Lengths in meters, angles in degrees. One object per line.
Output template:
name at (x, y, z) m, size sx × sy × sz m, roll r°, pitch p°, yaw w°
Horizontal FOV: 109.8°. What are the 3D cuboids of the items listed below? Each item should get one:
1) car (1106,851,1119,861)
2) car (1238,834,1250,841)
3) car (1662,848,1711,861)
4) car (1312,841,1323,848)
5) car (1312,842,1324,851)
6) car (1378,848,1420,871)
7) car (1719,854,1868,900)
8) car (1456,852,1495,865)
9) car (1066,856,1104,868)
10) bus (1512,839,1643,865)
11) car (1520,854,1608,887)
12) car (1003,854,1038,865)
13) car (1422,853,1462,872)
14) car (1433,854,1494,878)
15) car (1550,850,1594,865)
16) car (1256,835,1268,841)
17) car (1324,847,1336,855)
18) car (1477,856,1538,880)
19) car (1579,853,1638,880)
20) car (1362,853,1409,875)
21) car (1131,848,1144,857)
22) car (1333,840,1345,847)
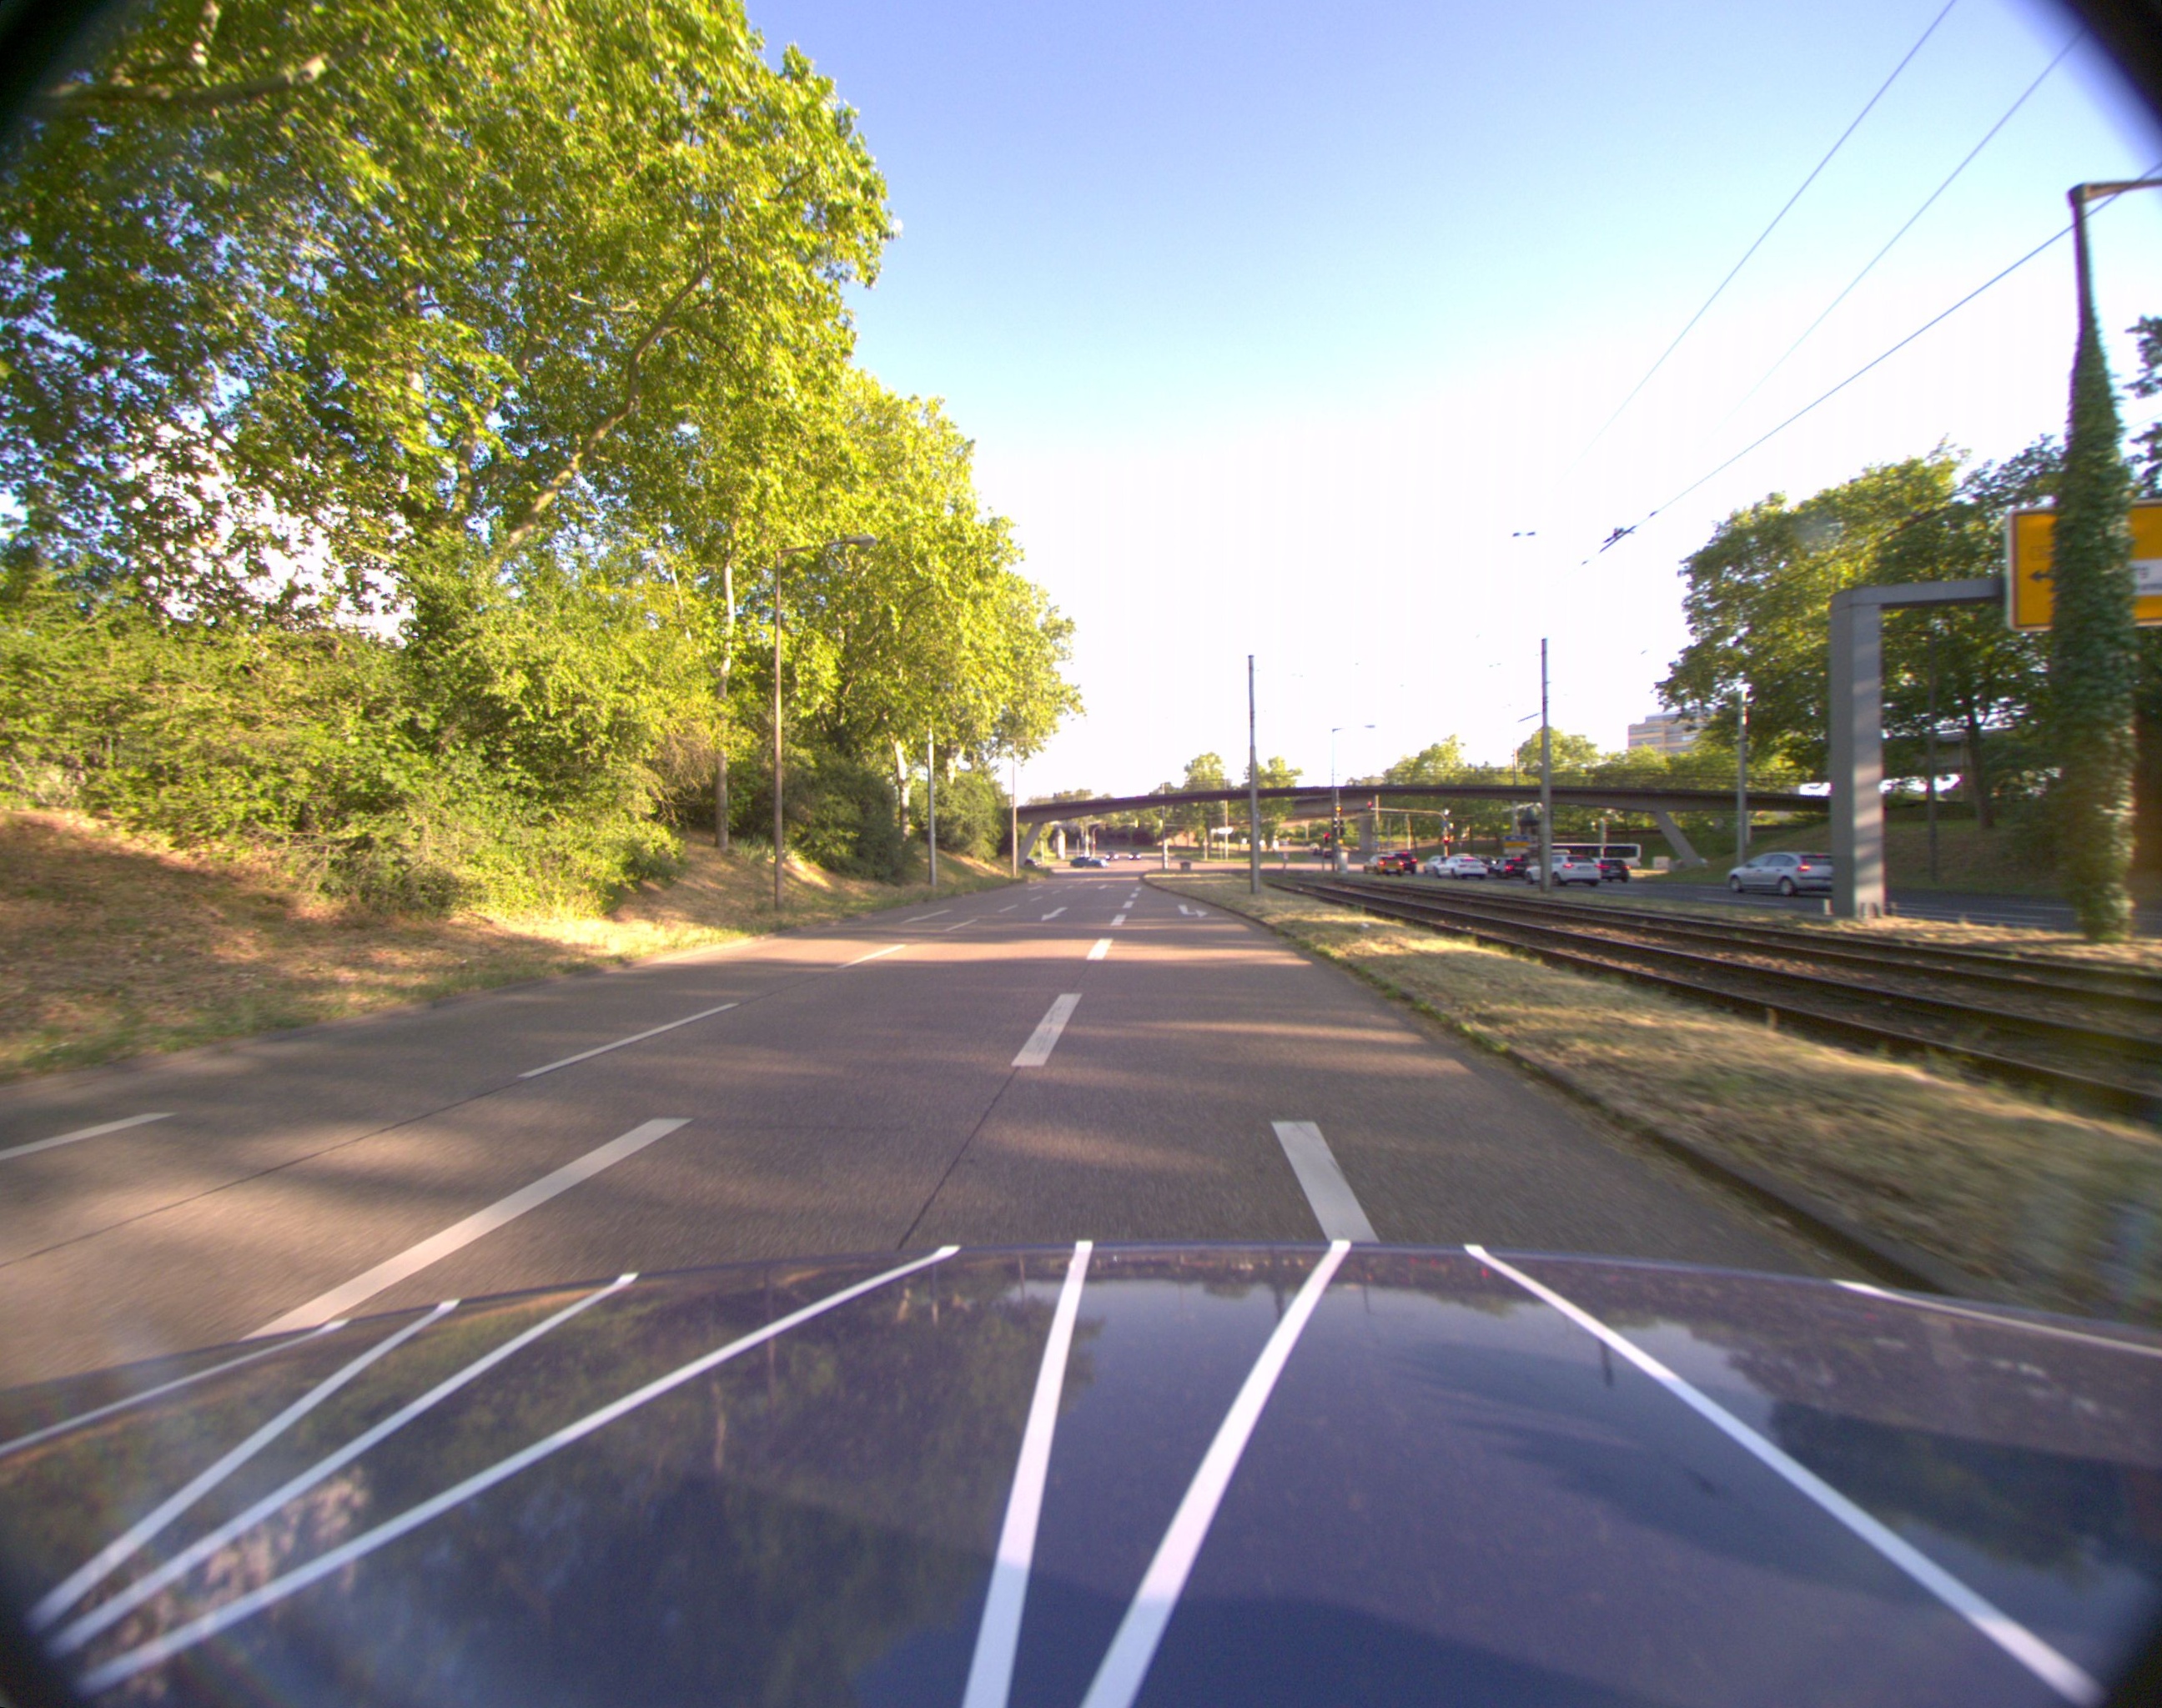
car at (5.341, 0.317, 127.006) m, size 1.998 × 1.477 × 4.001 m, roll -1°, pitch 0°, yaw 4°
car at (47.879, -4.908, 223.688) m, size 1.857 × 1.856 × 4.140 m, roll -1°, pitch 1°, yaw -13°
car at (67.738, 0.046, 85.079) m, size 3.989 × 1.434 × 1.708 m, roll 0°, pitch 2°, yaw 28°
car at (54.708, -2.239, 175.644) m, size 2.008 × 1.435 × 4.864 m, roll -1°, pitch 1°, yaw 12°
car at (44.473, -1.341, 142.764) m, size 1.793 × 1.641 × 4.360 m, roll -1°, pitch 1°, yaw 12°
car at (25.079, 0.410, 60.083) m, size 1.842 × 1.645 × 4.438 m, roll -2°, pitch 0°, yaw 6°
car at (23.909, 0.720, 25.733) m, size 1.656 × 1.407 × 4.262 m, roll -1°, pitch 0°, yaw 11°
car at (46.240, 0.516, 89.056) m, size 4.084 × 1.346 × 1.719 m, roll 0°, pitch 2°, yaw 28°
car at (0.441, 0.897, 88.711) m, size 4.087 × 1.346 × 1.718 m, roll 0°, pitch 1°, yaw 15°
bus at (58.526, -0.305, 90.108) m, size 12.817 × 2.938 × 2.836 m, roll 0°, pitch 2°, yaw 29°
car at (22.562, 0.725, 35.695) m, size 1.657 × 1.407 × 4.260 m, roll -1°, pitch 0°, yaw 5°
car at (-7.591, 0.729, 95.941) m, size 4.087 × 1.346 × 1.718 m, roll 0°, pitch 1°, yaw 15°
car at (29.689, 0.644, 62.598) m, size 1.689 × 1.407 × 4.440 m, roll -2°, pitch 1°, yaw 7°
car at (23.650, 0.722, 47.197) m, size 1.842 × 1.407 × 4.601 m, roll -1°, pitch 0°, yaw 6°
car at (56.145, 0.345, 86.897) m, size 4.084 × 1.643 × 1.719 m, roll 0°, pitch 2°, yaw 28°
car at (51.575, -4.459, 216.243) m, size 1.857 × 1.600 × 4.303 m, roll -1°, pitch 1°, yaw -10°
car at (42.379, -0.582, 129.357) m, size 1.689 × 1.302 × 4.313 m, roll -1°, pitch 1°, yaw 14°
car at (27.929, 0.888, 49.885) m, size 1.842 × 1.473 × 4.438 m, roll -2°, pitch 0°, yaw 6°
car at (32.042, 0.720, 46.310) m, size 1.840 × 1.473 × 4.606 m, roll -2°, pitch 0°, yaw 20°
car at (20.584, 0.640, 51.509) m, size 1.842 × 1.407 × 4.019 m, roll -1°, pitch 1°, yaw 4°
car at (9.524, -0.222, 129.290) m, size 1.998 × 1.477 × 4.000 m, roll -1°, pitch 0°, yaw 1°
car at (53.924, -2.230, 158.824) m, size 2.008 × 1.435 × 4.257 m, roll -1°, pitch 1°, yaw 12°
